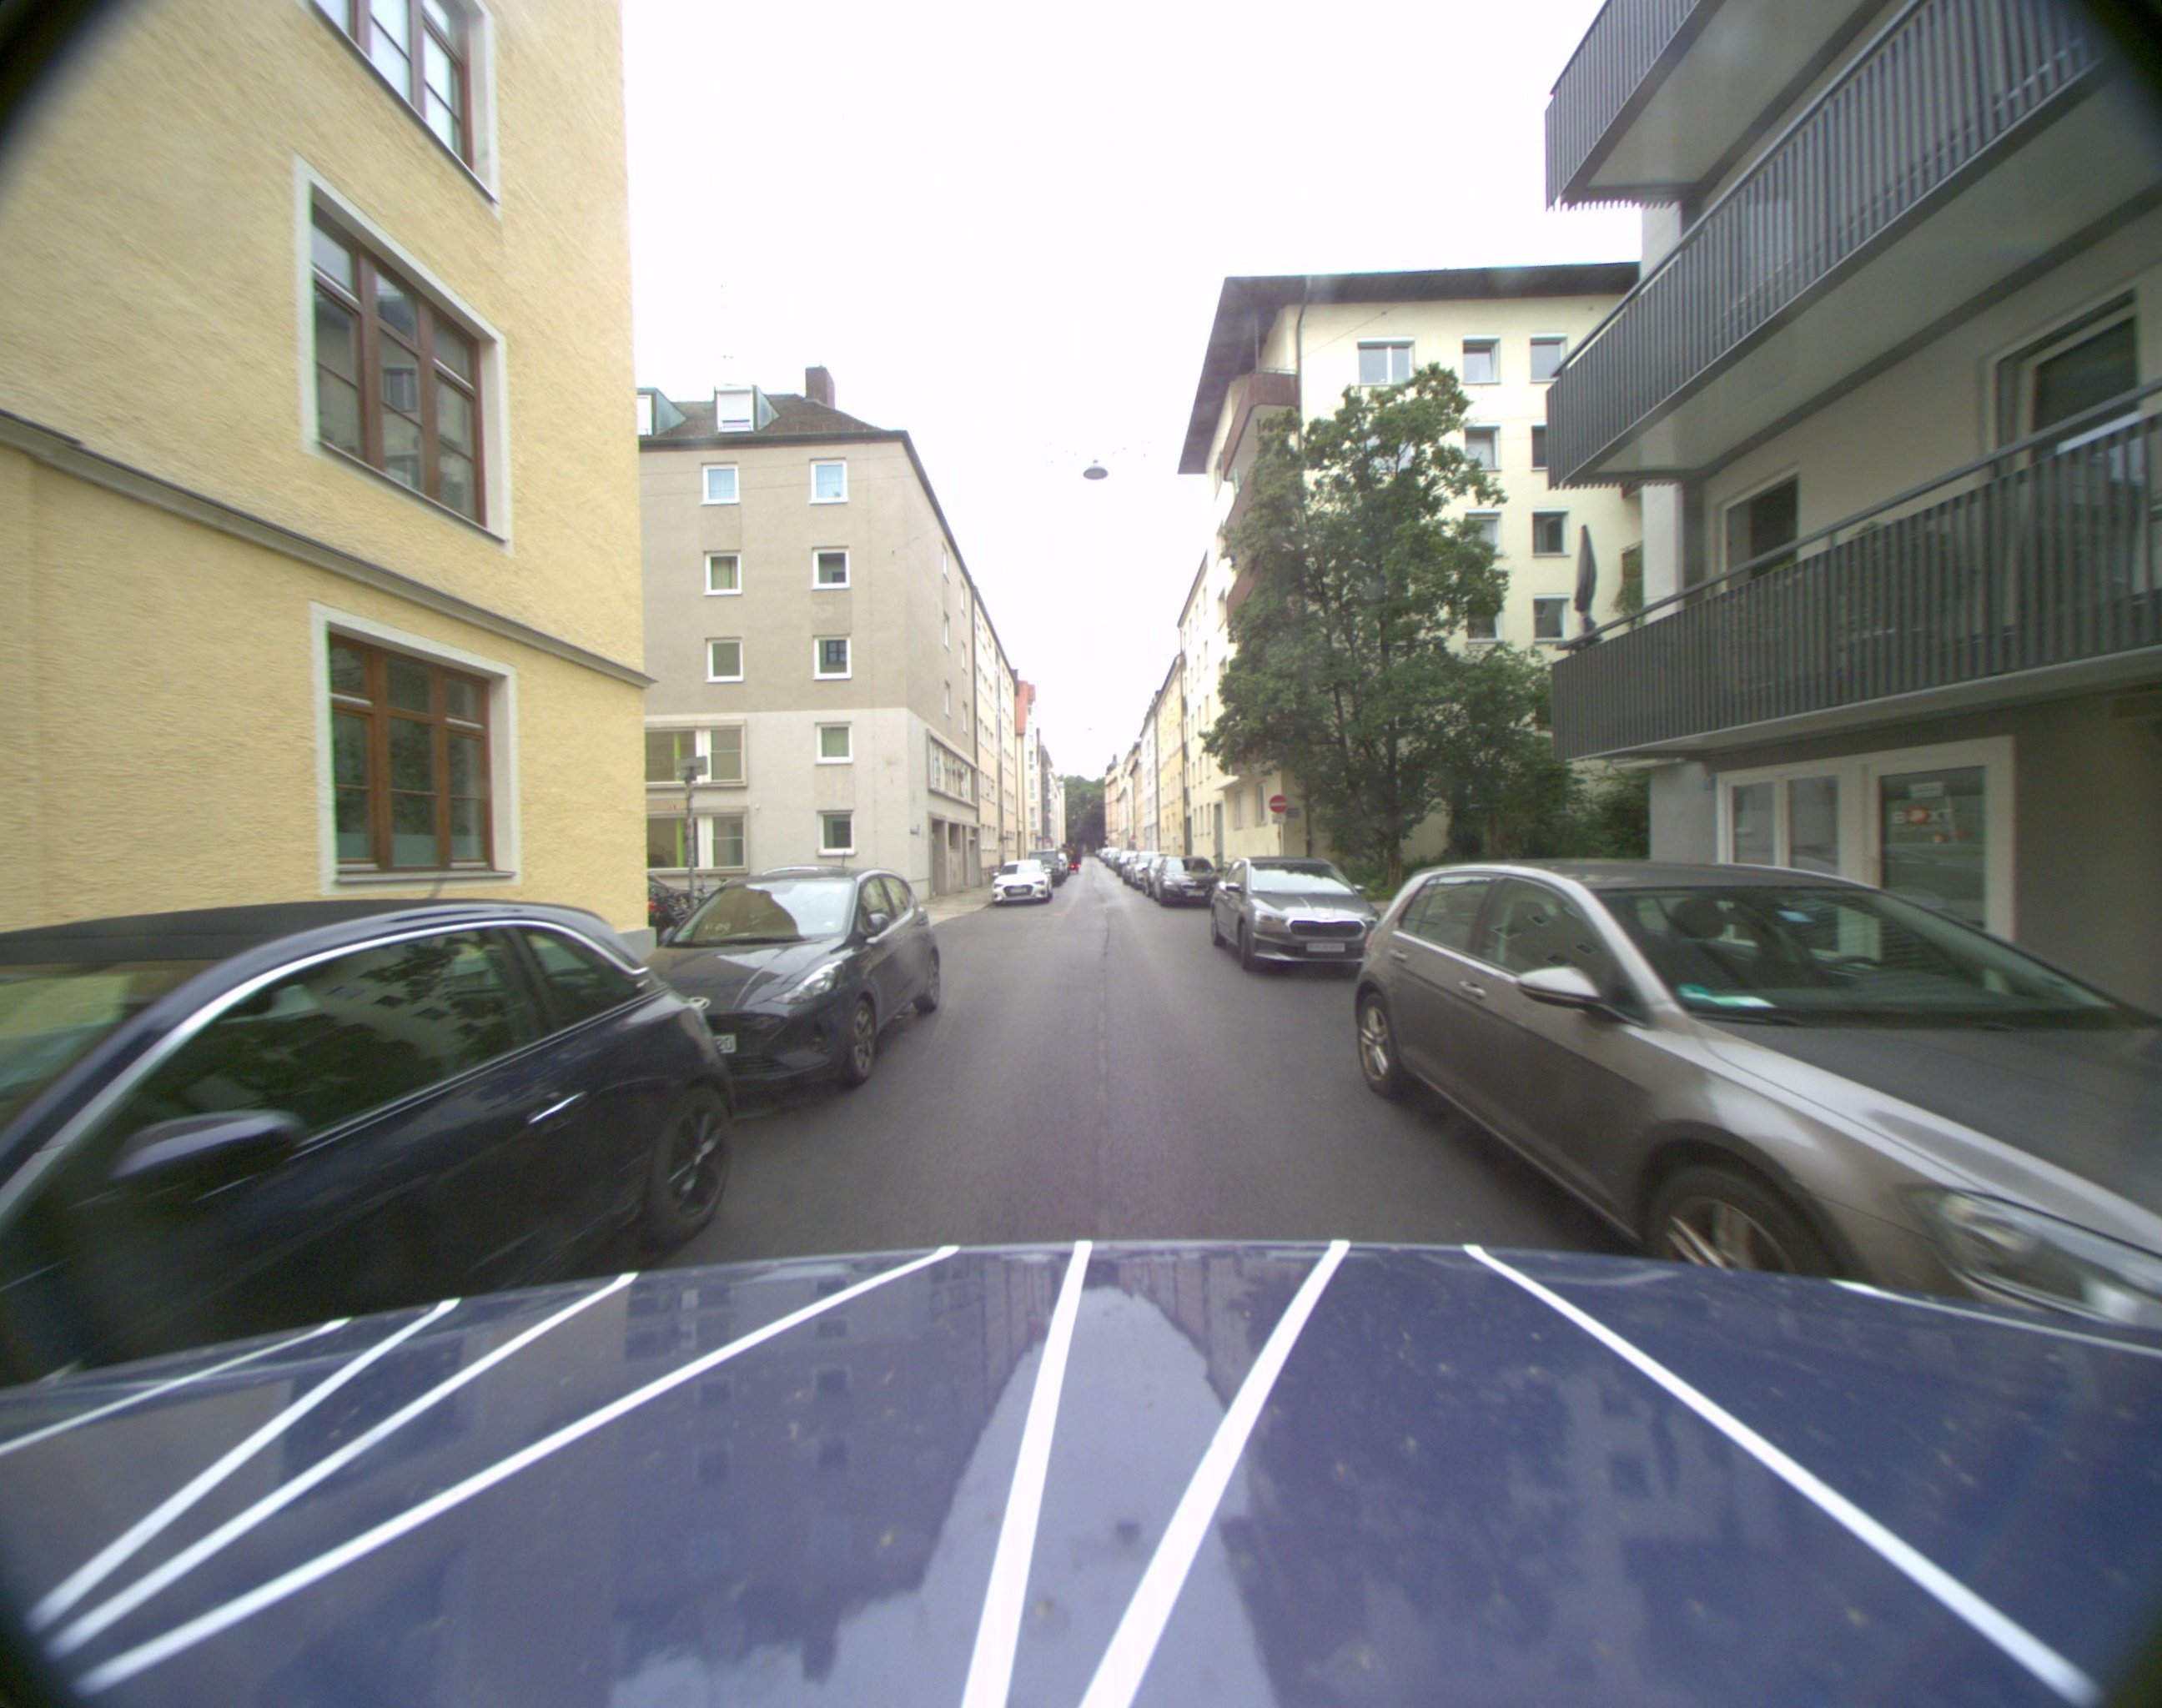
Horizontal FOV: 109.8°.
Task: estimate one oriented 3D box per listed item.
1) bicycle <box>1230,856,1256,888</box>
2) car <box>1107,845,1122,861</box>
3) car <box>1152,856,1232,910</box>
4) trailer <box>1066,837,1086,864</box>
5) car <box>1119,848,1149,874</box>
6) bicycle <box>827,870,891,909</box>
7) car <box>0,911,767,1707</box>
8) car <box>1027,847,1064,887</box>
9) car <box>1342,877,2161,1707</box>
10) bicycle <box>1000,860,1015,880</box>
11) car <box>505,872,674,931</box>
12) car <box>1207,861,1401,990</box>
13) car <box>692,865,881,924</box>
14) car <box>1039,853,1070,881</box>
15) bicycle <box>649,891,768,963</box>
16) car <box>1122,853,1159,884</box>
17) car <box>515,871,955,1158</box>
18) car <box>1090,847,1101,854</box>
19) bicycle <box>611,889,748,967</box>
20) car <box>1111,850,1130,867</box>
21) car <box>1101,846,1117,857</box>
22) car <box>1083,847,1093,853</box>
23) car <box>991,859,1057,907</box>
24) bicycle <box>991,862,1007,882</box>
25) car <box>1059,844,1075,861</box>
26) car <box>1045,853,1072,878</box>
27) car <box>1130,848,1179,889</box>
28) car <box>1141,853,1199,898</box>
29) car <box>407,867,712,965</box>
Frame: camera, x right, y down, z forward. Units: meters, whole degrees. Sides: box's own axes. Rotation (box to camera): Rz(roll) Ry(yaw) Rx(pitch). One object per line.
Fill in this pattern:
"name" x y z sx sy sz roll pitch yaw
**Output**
"bicycle" 6.199 0.686 29.136 0.646 1.155 1.789 0 1 2
"car" 3.976 -0.161 90.839 1.728 1.779 4.248 1 2 2
"car" 3.202 0.784 22.640 1.860 1.400 4.383 0 0 2
"trailer" -0.440 -0.292 61.770 1.359 2.104 3.316 -2 1 -4
"car" 3.535 0.413 50.906 1.883 1.650 4.415 -1 1 3
"bicycle" -6.837 1.095 23.406 1.801 1.109 0.465 -2 1 0
"car" -2.441 1.069 1.860 1.668 1.460 3.818 -4 0 0
"car" -1.840 0.655 41.004 1.755 1.964 4.342 -4 0 -1
"car" 2.558 0.880 2.967 1.697 1.434 3.977 0 0 0
"bicycle" -4.372 0.922 45.433 0.656 1.100 1.760 2 1 0
"car" -12.728 1.249 19.814 3.353 1.426 1.568 -1 -4 0
"car" 2.904 0.849 10.752 1.697 1.434 3.942 0 0 2
"car" -7.667 1.045 20.102 4.215 1.391 2.000 -1 -1 -2
"car" -1.589 0.748 45.972 1.716 1.477 4.243 -3 1 -1
"bicycle" -5.966 1.158 12.197 1.717 1.132 0.374 0 -1 0
"car" 2.992 0.695 38.885 1.656 1.427 3.802 -1 1 1
"car" -2.374 0.984 6.607 1.755 1.460 4.342 -4 0 0
"car" 3.226 -0.877 173.707 1.800 1.501 3.995 1 1 -10
"bicycle" -6.141 1.121 11.658 1.812 1.167 0.505 0 -1 -1
"car" 3.487 0.355 67.212 1.566 1.452 3.404 -1 1 3
"car" 3.861 -0.353 105.576 1.786 1.596 4.307 1 0 -3
"car" 1.624 -0.995 182.004 1.800 1.501 3.995 1 1 -10
"car" -1.868 0.922 25.942 1.823 1.400 3.952 -2 0 1
"bicycle" -4.483 0.989 41.829 0.646 1.023 1.796 2 1 0
"car" -1.831 -0.208 101.817 1.878 2.002 5.105 -3 1 0
"car" -1.498 0.707 51.083 1.716 1.477 4.243 -3 1 -1
"car" 3.182 0.581 33.690 1.770 1.666 4.366 -1 1 0
"car" 3.179 0.728 27.910 1.770 1.475 4.423 -1 1 2
"car" -9.201 1.057 13.667 4.223 1.485 1.711 -1 1 -1
